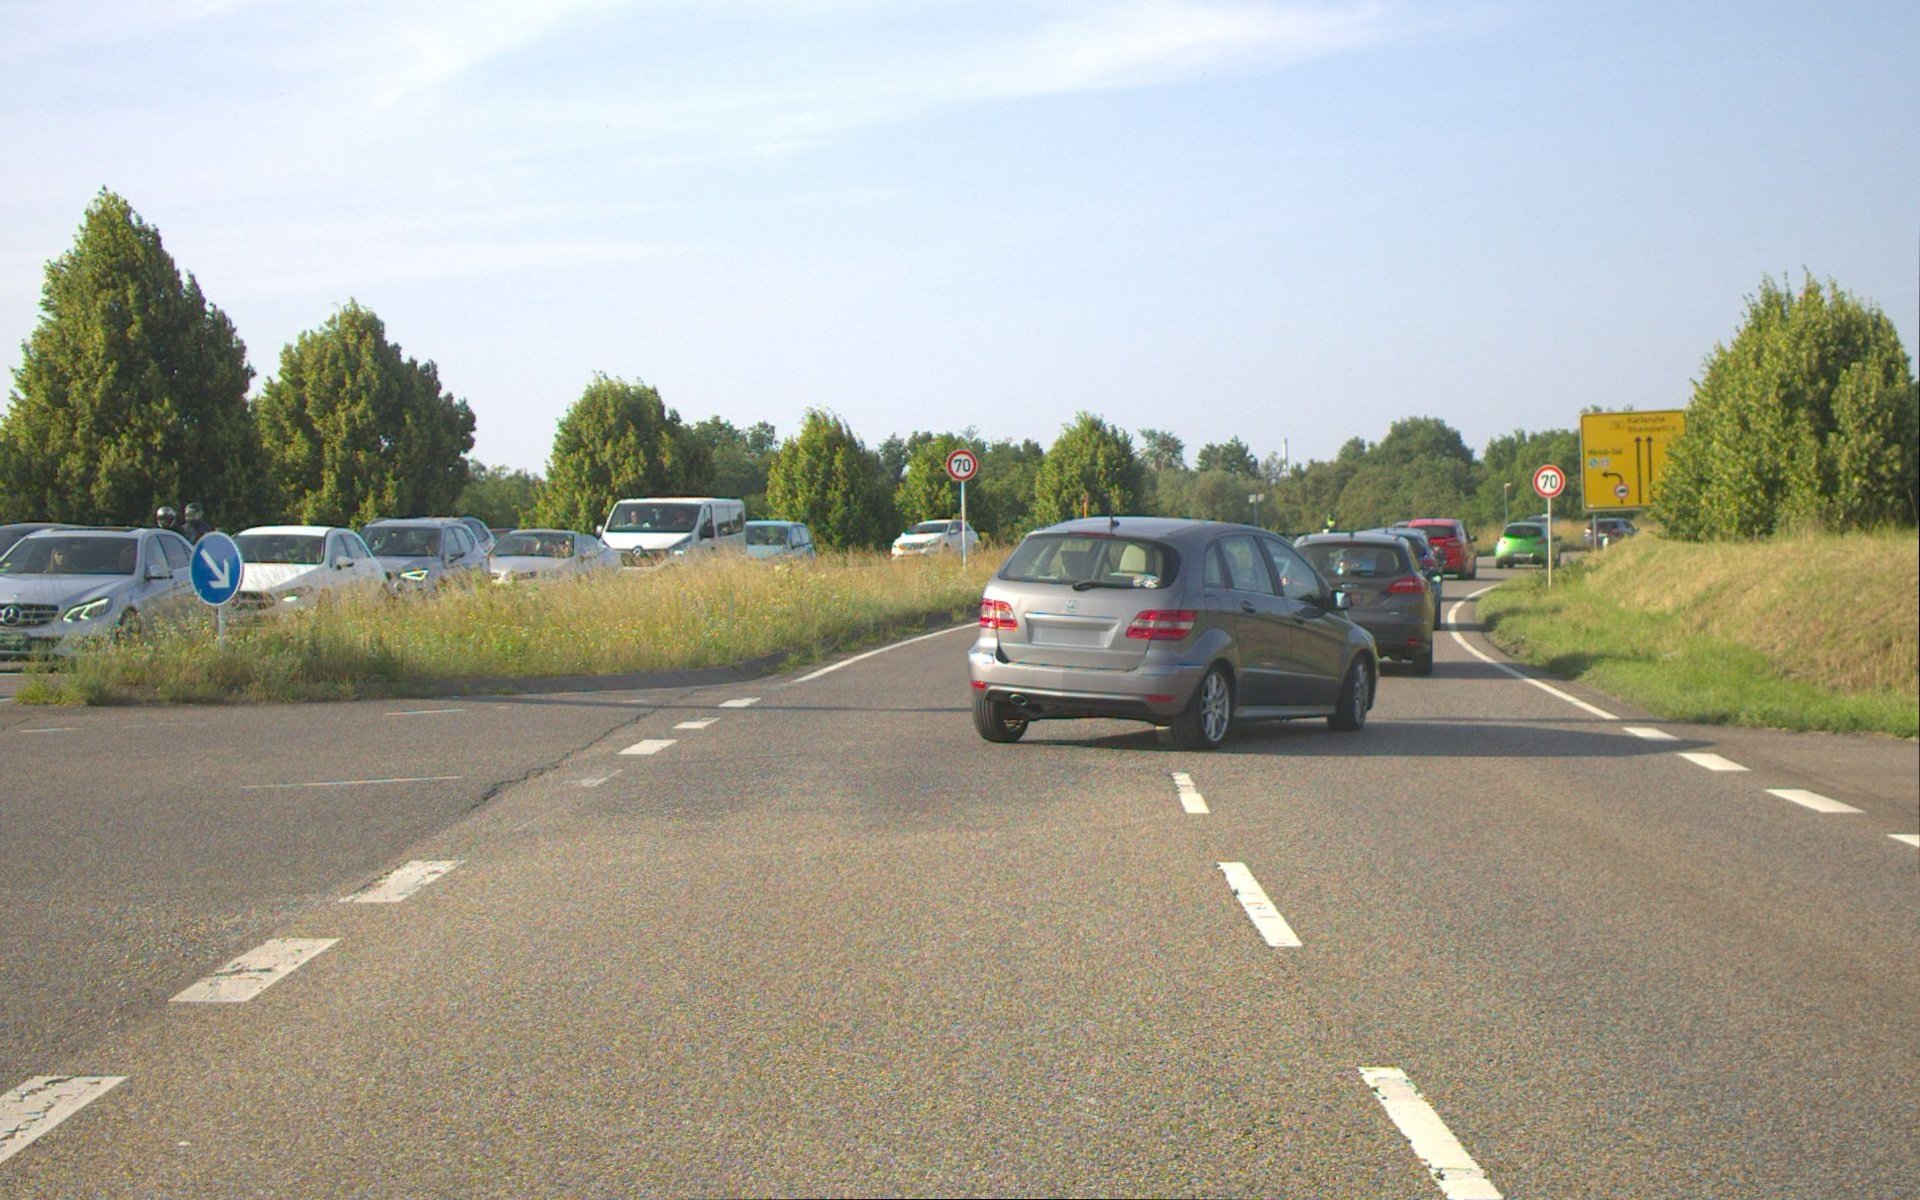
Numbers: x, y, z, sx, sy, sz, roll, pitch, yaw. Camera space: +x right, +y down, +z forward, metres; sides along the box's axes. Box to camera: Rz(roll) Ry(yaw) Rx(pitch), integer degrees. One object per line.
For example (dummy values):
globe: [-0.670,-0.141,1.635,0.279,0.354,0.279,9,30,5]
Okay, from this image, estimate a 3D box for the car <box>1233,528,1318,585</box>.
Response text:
car: [7.720,-1.043,83.893,1.909,1.318,4.277,0,0,7]

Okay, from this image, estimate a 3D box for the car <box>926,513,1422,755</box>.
car: [1.643,0.228,24.910,1.788,1.600,4.188,0,0,32]

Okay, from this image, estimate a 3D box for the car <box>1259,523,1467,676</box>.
car: [4.459,-0.047,37.501,1.811,1.560,4.529,0,1,12]

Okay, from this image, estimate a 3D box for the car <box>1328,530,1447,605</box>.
car: [8.288,-0.612,66.426,1.916,1.411,3.793,0,0,13]

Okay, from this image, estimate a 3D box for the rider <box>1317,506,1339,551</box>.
rider: [16.630,-3.242,155.494,0.868,2.007,0.771,0,1,15]

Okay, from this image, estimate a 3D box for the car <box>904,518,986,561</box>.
car: [-0.474,-1.981,112.410,1.787,1.381,4.049,0,1,13]

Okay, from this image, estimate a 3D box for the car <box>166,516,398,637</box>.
car: [-8.456,-0.324,43.216,1.786,1.428,4.309,-1,1,4]

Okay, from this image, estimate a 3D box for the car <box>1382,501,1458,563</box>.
car: [12.247,-1.796,91.409,1.896,1.559,4.276,0,0,9]

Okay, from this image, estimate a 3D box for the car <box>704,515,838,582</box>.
car: [-4.008,-1.117,73.539,1.787,1.381,4.049,0,1,13]

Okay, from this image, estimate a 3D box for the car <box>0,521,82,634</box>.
car: [-12.890,-0.299,44.429,1.786,1.428,4.051,-1,1,4]

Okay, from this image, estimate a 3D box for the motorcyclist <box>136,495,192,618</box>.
motorcyclist: [-11.372,-0.621,49.143,0.662,1.741,0.605,-1,1,-3]

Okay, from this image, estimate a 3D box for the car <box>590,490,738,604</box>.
car: [-5.554,-1.010,65.007,1.926,2.071,4.242,-1,1,7]

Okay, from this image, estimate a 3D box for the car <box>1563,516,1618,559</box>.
car: [26.396,-2.594,143.817,1.910,1.728,4.275,0,0,15]

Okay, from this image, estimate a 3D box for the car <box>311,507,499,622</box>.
car: [-7.931,-0.530,49.440,1.786,1.563,4.051,-1,1,4]

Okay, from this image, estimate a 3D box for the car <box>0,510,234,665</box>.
car: [-9.036,-0.160,35.523,1.786,1.483,4.651,-1,1,4]

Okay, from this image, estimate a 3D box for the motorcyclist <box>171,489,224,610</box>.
motorcyclist: [-11.567,-0.767,52.156,0.662,1.810,0.605,-1,1,-3]

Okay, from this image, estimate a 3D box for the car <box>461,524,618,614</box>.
car: [-6.765,-0.529,55.649,1.786,1.381,4.051,-1,1,4]

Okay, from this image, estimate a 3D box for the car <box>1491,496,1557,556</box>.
car: [17.851,-2.334,108.991,1.909,1.794,4.276,0,0,7]

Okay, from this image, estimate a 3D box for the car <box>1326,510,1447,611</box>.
car: [6.568,-0.628,52.802,1.773,1.487,3.984,0,1,8]
